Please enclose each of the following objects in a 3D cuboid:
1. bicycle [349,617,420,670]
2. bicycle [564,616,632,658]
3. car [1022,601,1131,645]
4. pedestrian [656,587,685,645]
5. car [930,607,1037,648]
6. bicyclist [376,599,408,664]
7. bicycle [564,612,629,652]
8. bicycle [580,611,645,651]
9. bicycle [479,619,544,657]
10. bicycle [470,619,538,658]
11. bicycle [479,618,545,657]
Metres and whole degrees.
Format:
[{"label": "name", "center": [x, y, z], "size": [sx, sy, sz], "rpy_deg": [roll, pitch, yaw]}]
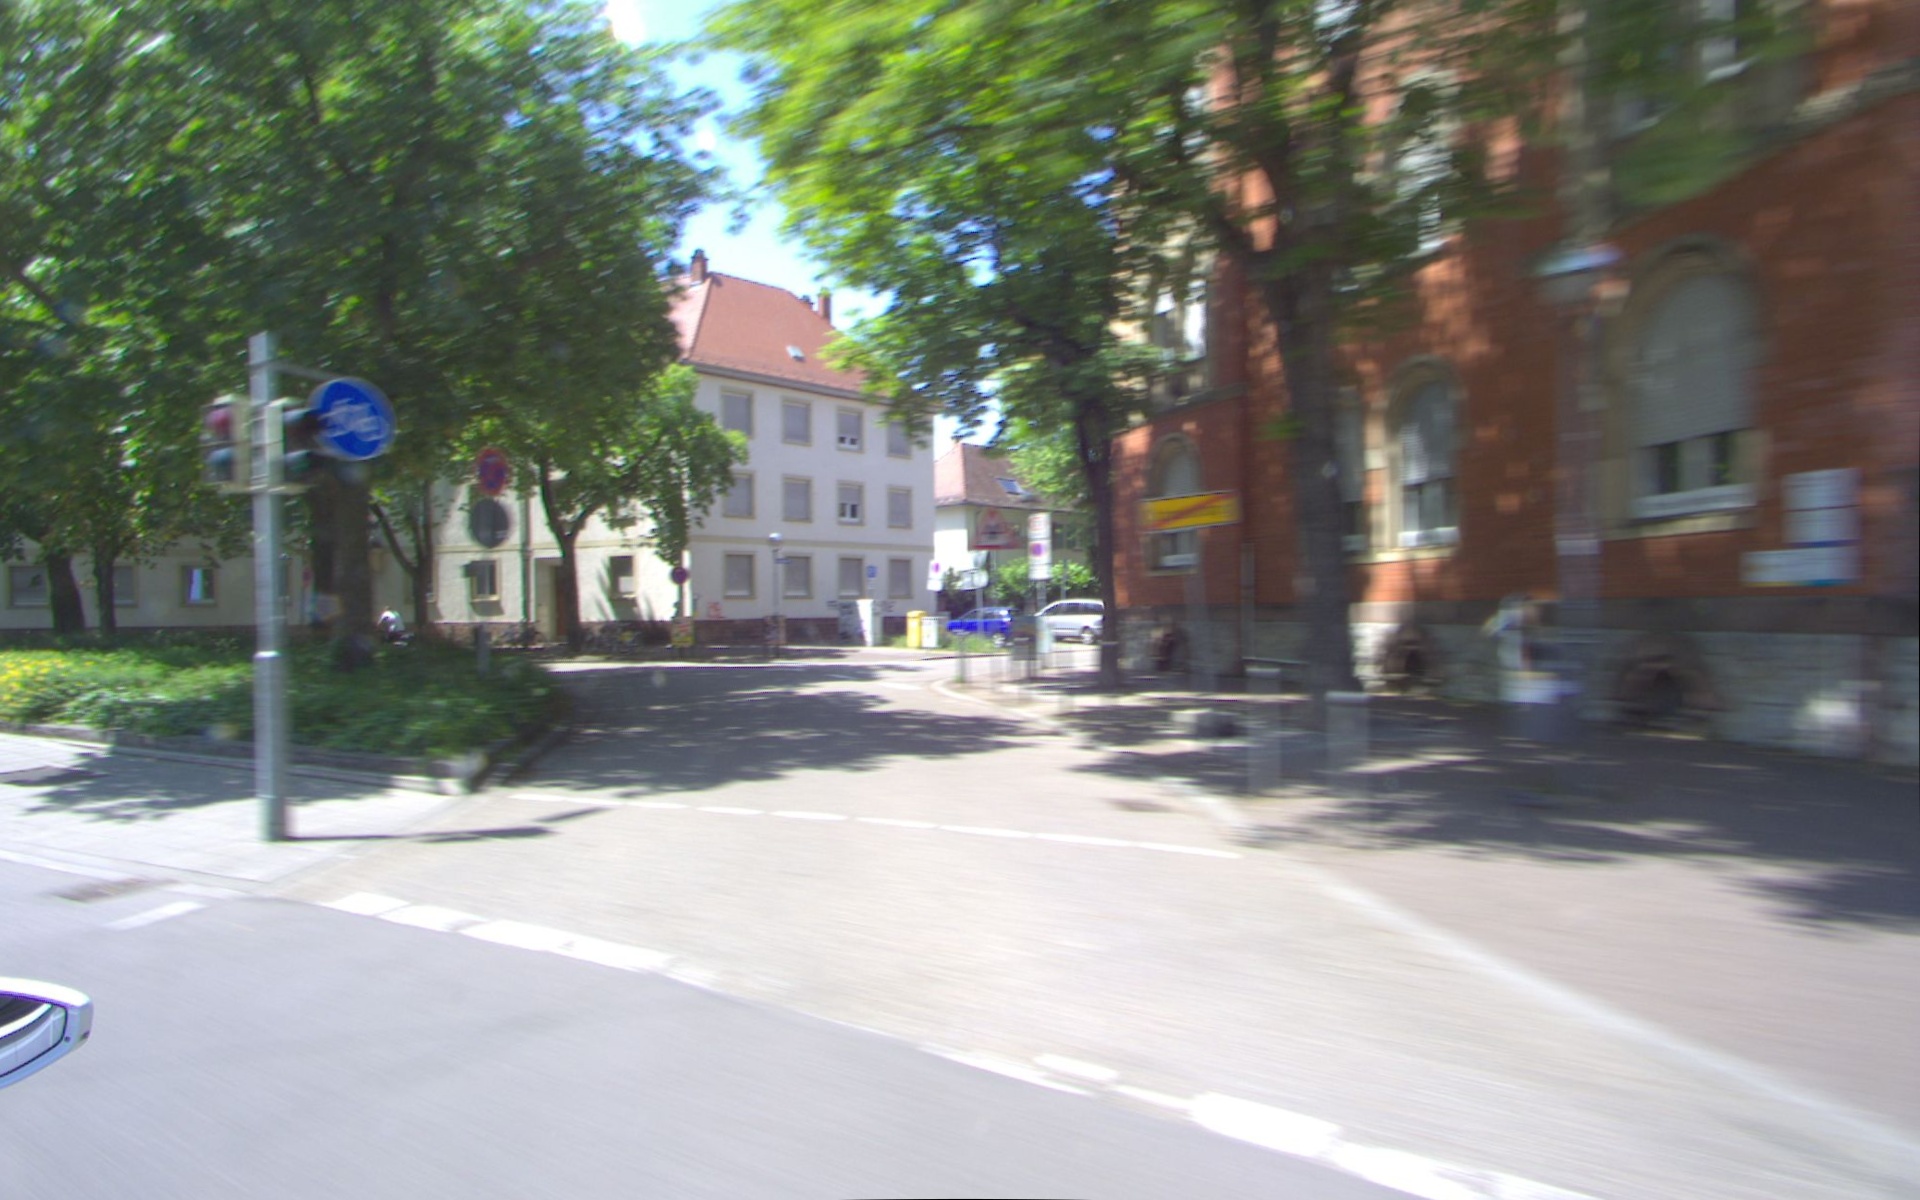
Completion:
[{"label": "bicycle", "center": [-16.477, 1.247, 28.648], "size": [2.131, 1.504, 0.592], "rpy_deg": [-1, -1, 23]}, {"label": "bicycle", "center": [-11.742, 1.200, 32.522], "size": [0.540, 1.317, 2.145], "rpy_deg": [-1, -1, 36]}, {"label": "car", "center": [4.644, 0.899, 40.257], "size": [4.220, 1.674, 1.712], "rpy_deg": [0, 0, 44]}, {"label": "pedestrian", "center": [-10.441, 0.578, 36.149], "size": [0.792, 2.039, 0.773], "rpy_deg": [-1, -1, -2]}, {"label": "car", "center": [0.822, 0.980, 37.032], "size": [3.847, 1.448, 1.712], "rpy_deg": [0, 0, 44]}, {"label": "bicyclist", "center": [-16.183, 0.887, 28.530], "size": [0.525, 1.823, 0.602], "rpy_deg": [-1, -1, 22]}, {"label": "bicycle", "center": [-12.471, 1.095, 34.424], "size": [0.540, 1.317, 2.145], "rpy_deg": [-1, -1, 36]}, {"label": "bicycle", "center": [-11.769, 1.044, 33.974], "size": [0.540, 1.317, 2.145], "rpy_deg": [-1, -1, 36]}, {"label": "bicycle", "center": [-16.013, 1.349, 35.816], "size": [0.540, 1.317, 2.145], "rpy_deg": [-1, -1, 36]}, {"label": "bicycle", "center": [-16.724, 1.392, 36.760], "size": [0.508, 1.361, 2.314], "rpy_deg": [-1, -1, 36]}, {"label": "bicycle", "center": [-16.266, 1.358, 36.397], "size": [0.508, 1.364, 2.230], "rpy_deg": [-1, -1, 36]}]
